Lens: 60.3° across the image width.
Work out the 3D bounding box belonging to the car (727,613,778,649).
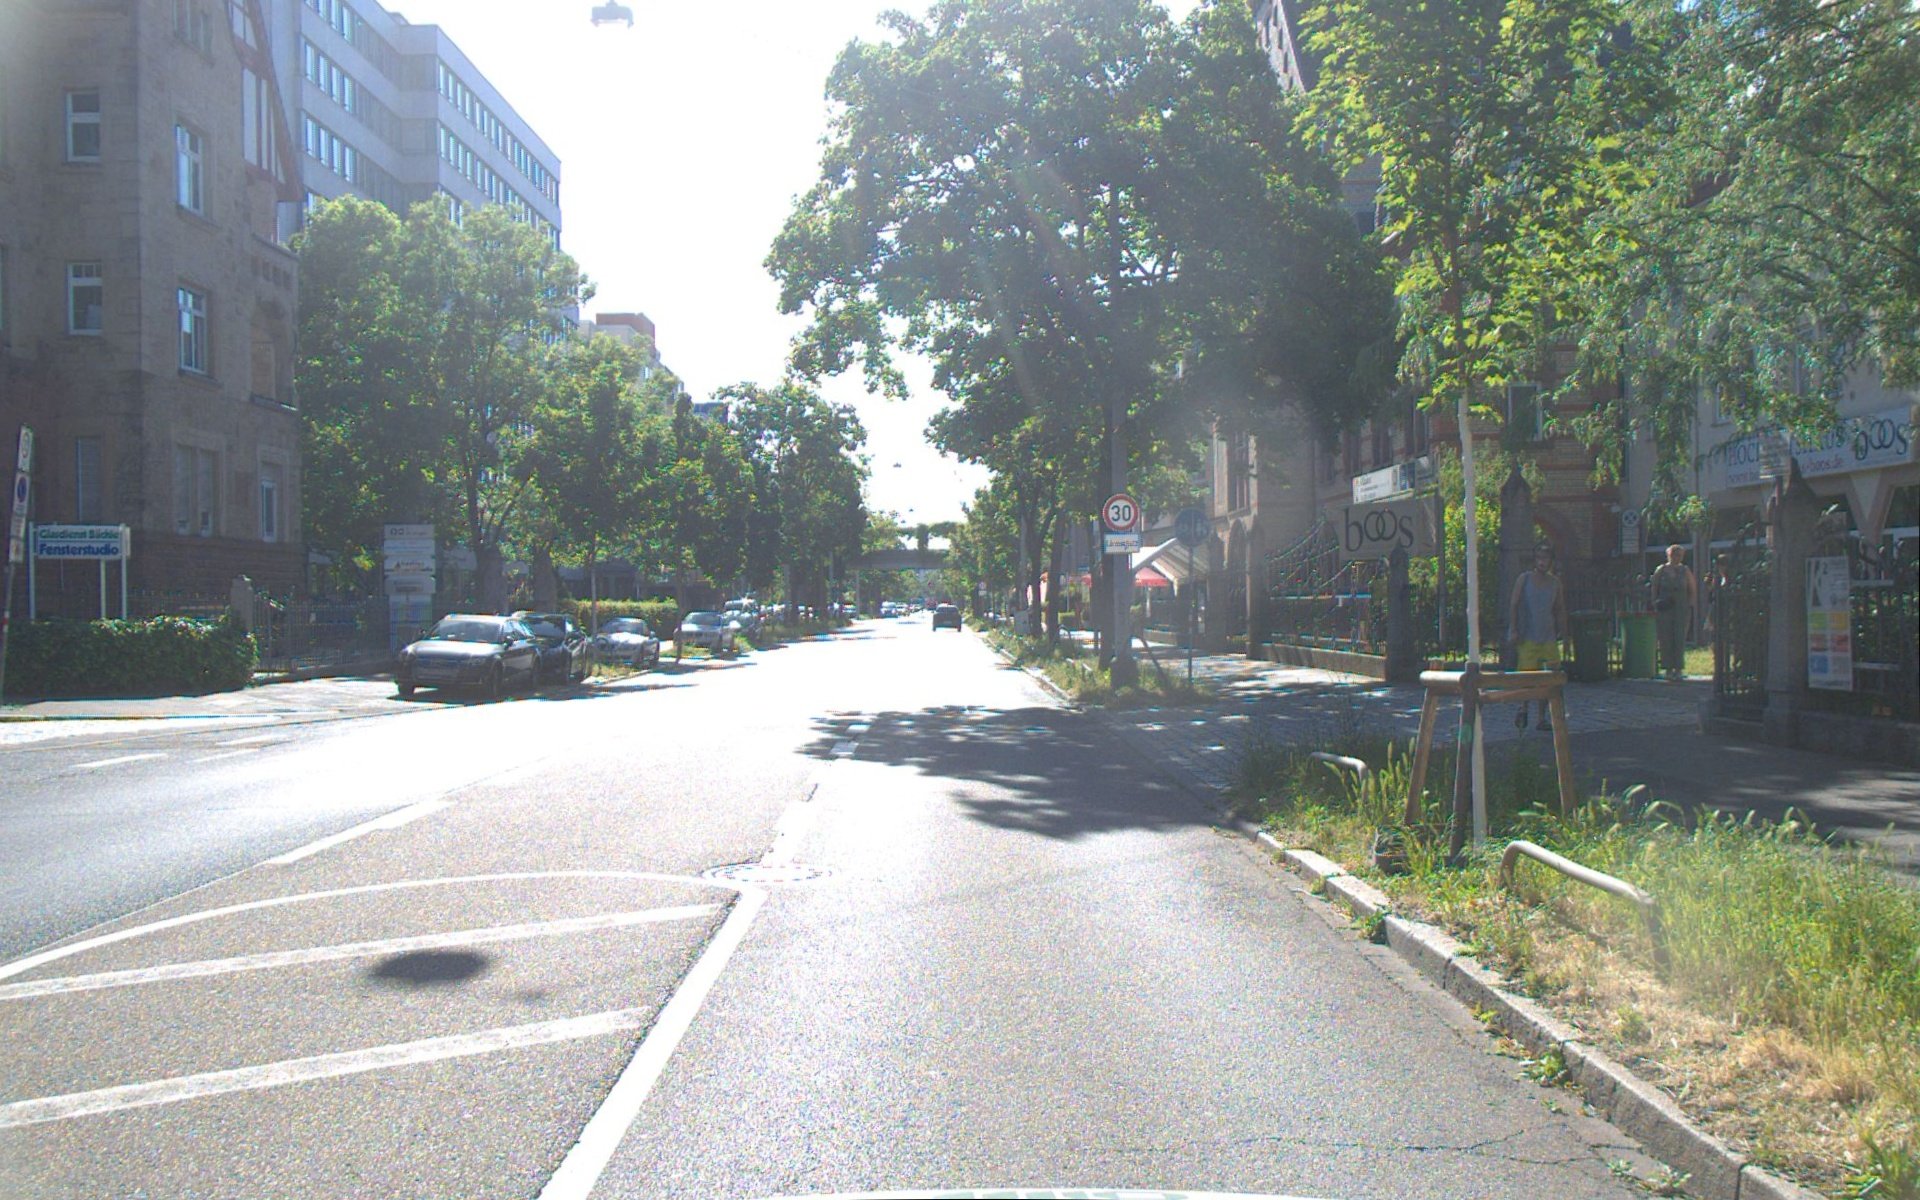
[{"bbox_3d":[-9.030,1.344,72.246,1.677,1.484,4.072,0,0,1],"label":"car"}]

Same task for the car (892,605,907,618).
[{"bbox_3d":[-7.831,1.418,213.951,1.818,1.595,4.714,-2,0,-2],"label":"car"}]

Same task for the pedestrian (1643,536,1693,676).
[{"bbox_3d":[9.314,0.081,21.755,0.530,1.809,0.532,-2,0,26],"label":"pedestrian"}]

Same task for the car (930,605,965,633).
[{"bbox_3d":[-0.760,1.125,98.955,1.945,1.628,4.138,0,0,-2],"label":"car"}]

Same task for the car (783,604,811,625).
[{"bbox_3d":[-12.692,1.145,128.865,1.818,1.595,3.871,0,0,0],"label":"car"}]

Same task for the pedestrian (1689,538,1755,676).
[{"bbox_3d":[9.786,0.089,21.260,0.528,1.739,0.514,-2,0,-8],"label":"pedestrian"}]

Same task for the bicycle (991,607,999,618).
[{"bbox_3d":[3.265,1.150,154.673,0.577,1.045,1.859,-1,-1,-2],"label":"bicycle"}]

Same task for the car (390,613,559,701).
[{"bbox_3d":[-9.263,1.047,31.974,1.818,1.452,4.719,3,0,0],"label":"car"}]

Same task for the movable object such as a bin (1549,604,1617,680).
[{"bbox_3d":[8.392,0.560,22.303,0.612,0.982,0.667,-3,0,-2],"label":"movable object such as a bin"}]

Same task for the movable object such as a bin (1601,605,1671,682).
[{"bbox_3d":[9.097,0.573,22.277,0.612,0.982,0.667,-3,0,-2],"label":"movable object such as a bin"}]

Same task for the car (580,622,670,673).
[{"bbox_3d":[-9.064,1.251,44.989,1.644,1.277,4.014,0,0,0],"label":"car"}]

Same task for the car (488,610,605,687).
[{"bbox_3d":[-9.268,1.043,37.381,1.820,1.520,4.700,3,0,-6],"label":"car"}]

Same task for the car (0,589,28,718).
[{"bbox_3d":[-15.007,0.665,22.296,4.094,1.699,1.977,2,1,-34],"label":"car"}]

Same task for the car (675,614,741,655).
[{"bbox_3d":[-9.256,1.256,61.074,1.653,1.407,4.192,0,0,2],"label":"car"}]

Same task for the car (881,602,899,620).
[{"bbox_3d":[-7.643,1.165,180.286,1.818,1.857,4.608,-2,0,-2],"label":"car"}]

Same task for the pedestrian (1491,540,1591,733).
[{"bbox_3d":[5.728,0.347,16.337,0.732,1.818,0.811,-4,0,13],"label":"pedestrian"}]

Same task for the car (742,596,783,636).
[{"bbox_3d":[-11.256,0.883,94.423,1.942,2.112,5.193,-3,0,-3],"label":"car"}]
